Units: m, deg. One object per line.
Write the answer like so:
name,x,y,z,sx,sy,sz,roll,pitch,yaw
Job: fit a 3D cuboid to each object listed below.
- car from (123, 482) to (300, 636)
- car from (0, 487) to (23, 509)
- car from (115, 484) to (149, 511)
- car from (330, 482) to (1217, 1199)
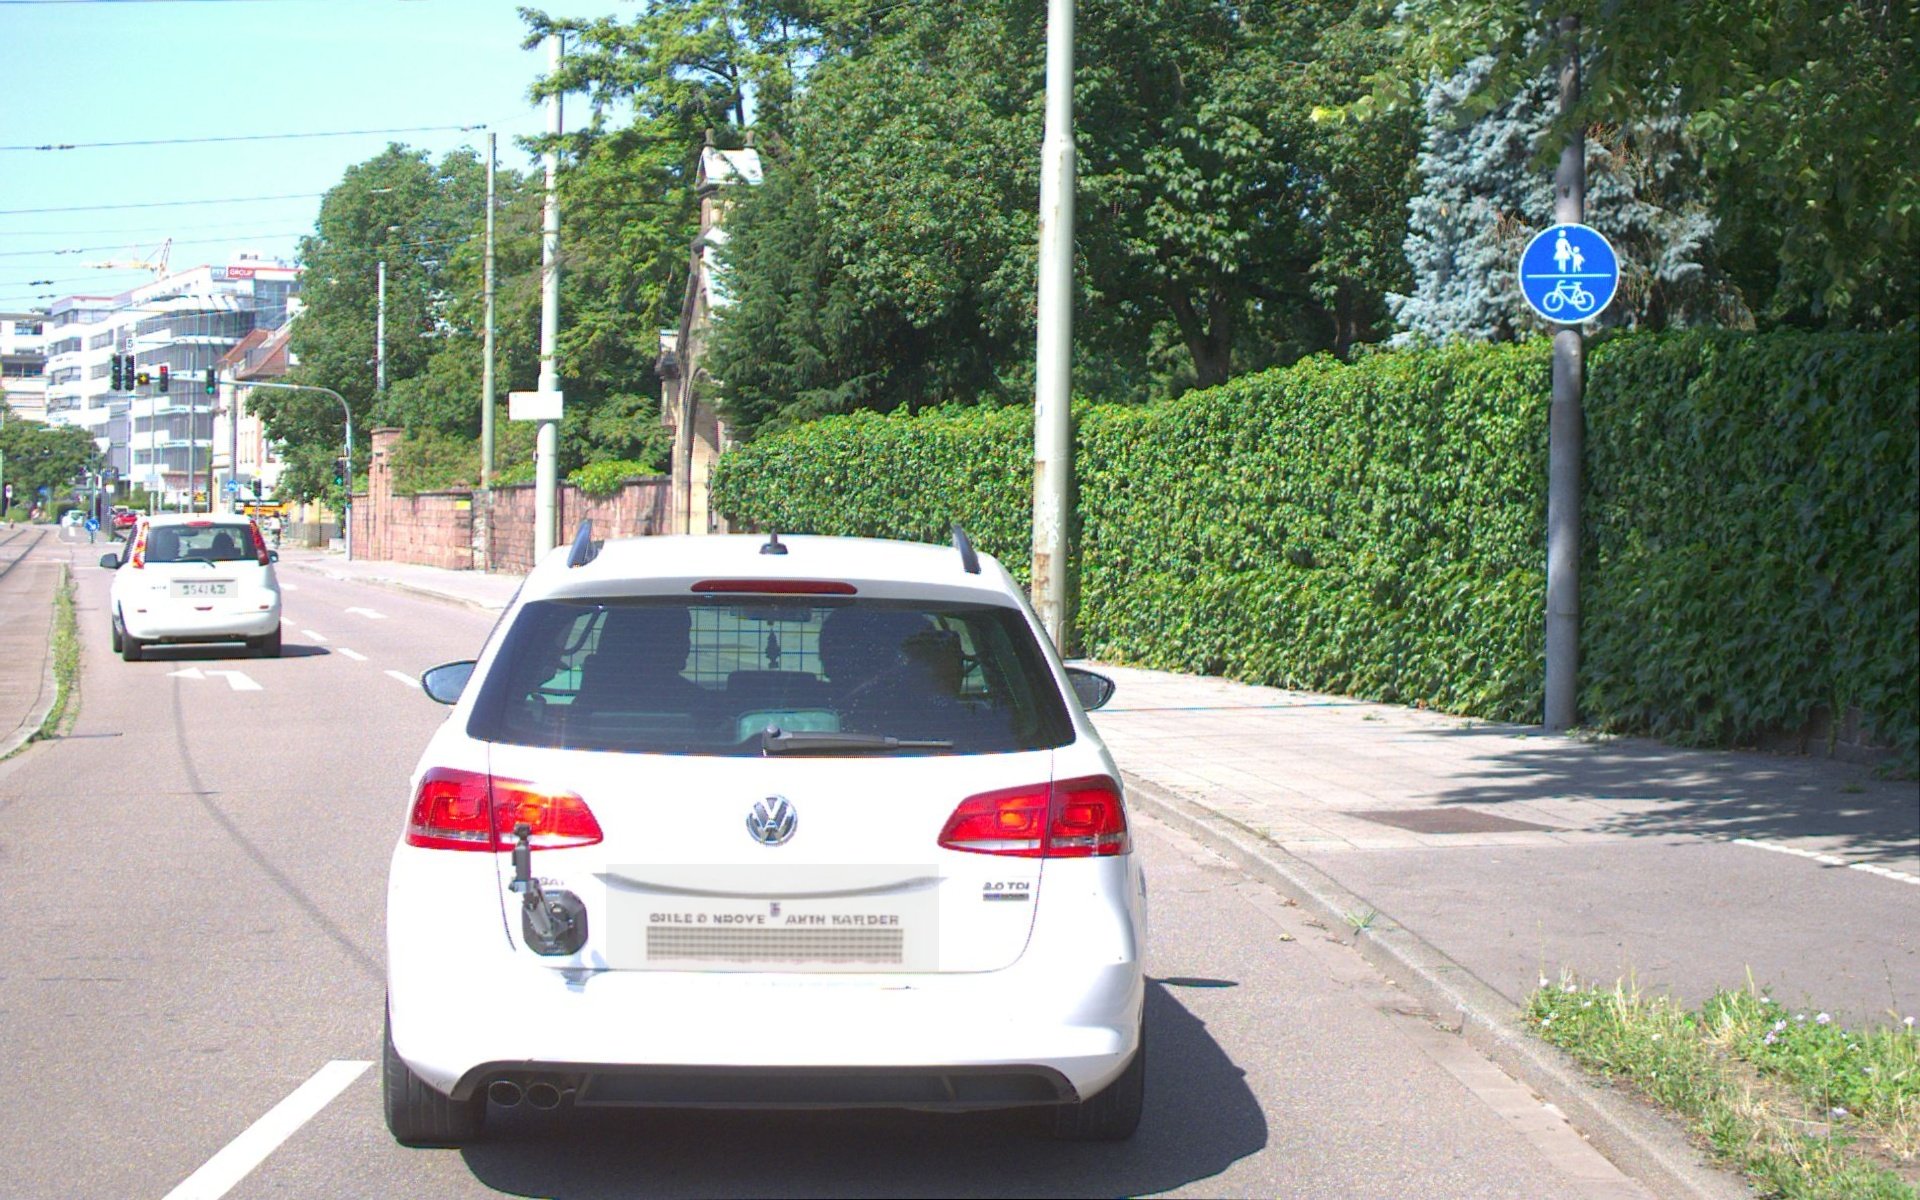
car,-8.186,-0.485,37.848,1.730,1.590,4.012,0,2,-10
car,-68.912,-7.395,249.723,1.698,1.585,3.536,0,2,-15
car,-60.589,-7.507,251.576,1.993,1.897,4.001,0,2,-20
car,-0.454,0.455,8.877,1.778,1.485,3.847,1,2,-2
